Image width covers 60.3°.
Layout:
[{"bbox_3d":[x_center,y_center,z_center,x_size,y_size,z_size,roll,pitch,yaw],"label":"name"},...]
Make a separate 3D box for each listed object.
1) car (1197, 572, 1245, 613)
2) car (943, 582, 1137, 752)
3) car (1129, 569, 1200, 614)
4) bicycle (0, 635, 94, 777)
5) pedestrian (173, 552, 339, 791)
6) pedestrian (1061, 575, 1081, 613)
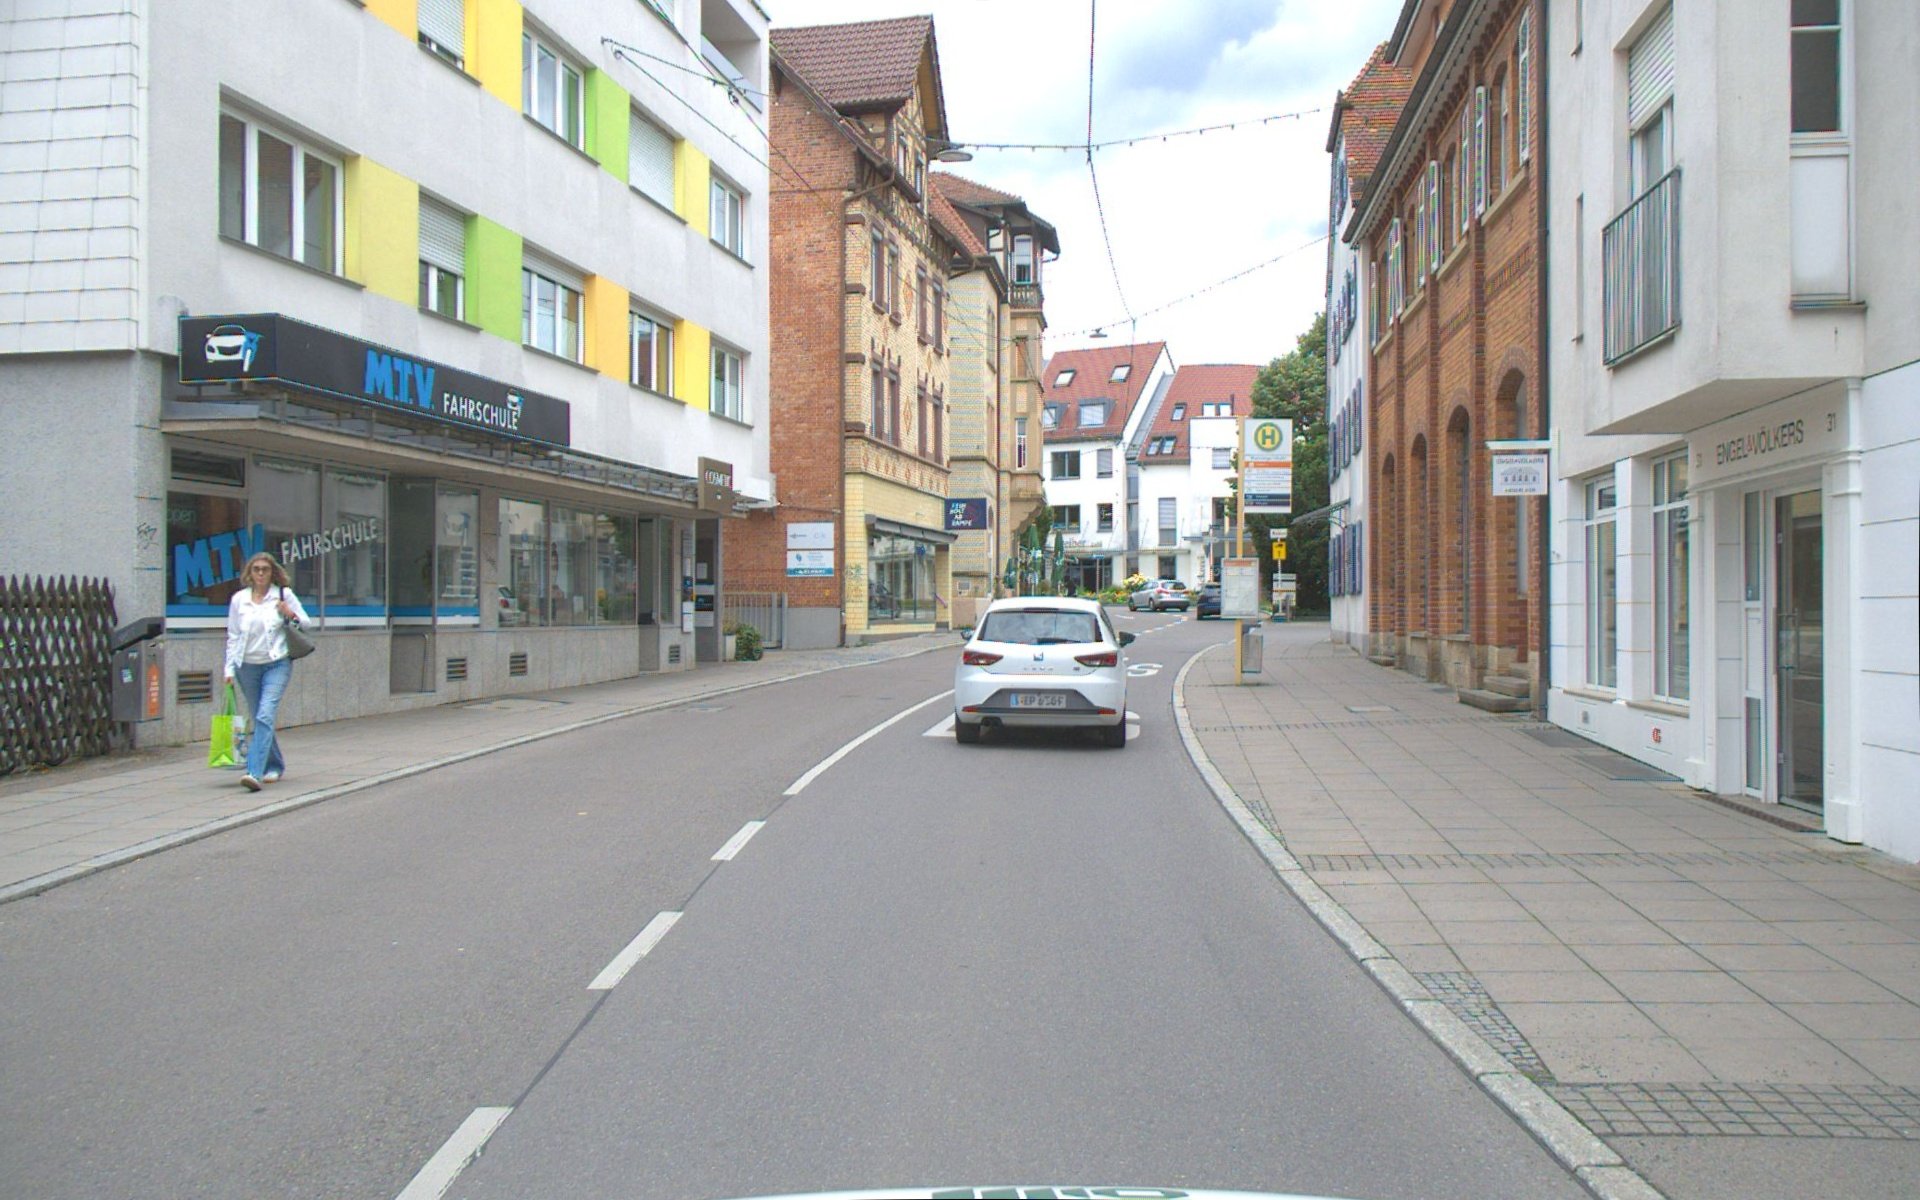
[{"bbox_3d":[10.151,-0.313,64.358,1.773,1.506,3.874,0,2,9],"label":"car"},{"bbox_3d":[0.953,0.611,17.562,1.773,1.506,3.874,1,2,7],"label":"car"},{"bbox_3d":[9.473,-0.405,77.073,1.960,2.049,3.984,-1,1,-15],"label":"car"},{"bbox_3d":[-7.637,0.845,13.318,0.316,1.072,1.749,0,1,3],"label":"bicycle"},{"bbox_3d":[-5.180,0.503,12.227,0.875,1.694,0.861,-1,0,-4],"label":"pedestrian"},{"bbox_3d":[4.577,-0.242,68.231,0.816,1.579,0.628,0,0,4],"label":"pedestrian"}]
